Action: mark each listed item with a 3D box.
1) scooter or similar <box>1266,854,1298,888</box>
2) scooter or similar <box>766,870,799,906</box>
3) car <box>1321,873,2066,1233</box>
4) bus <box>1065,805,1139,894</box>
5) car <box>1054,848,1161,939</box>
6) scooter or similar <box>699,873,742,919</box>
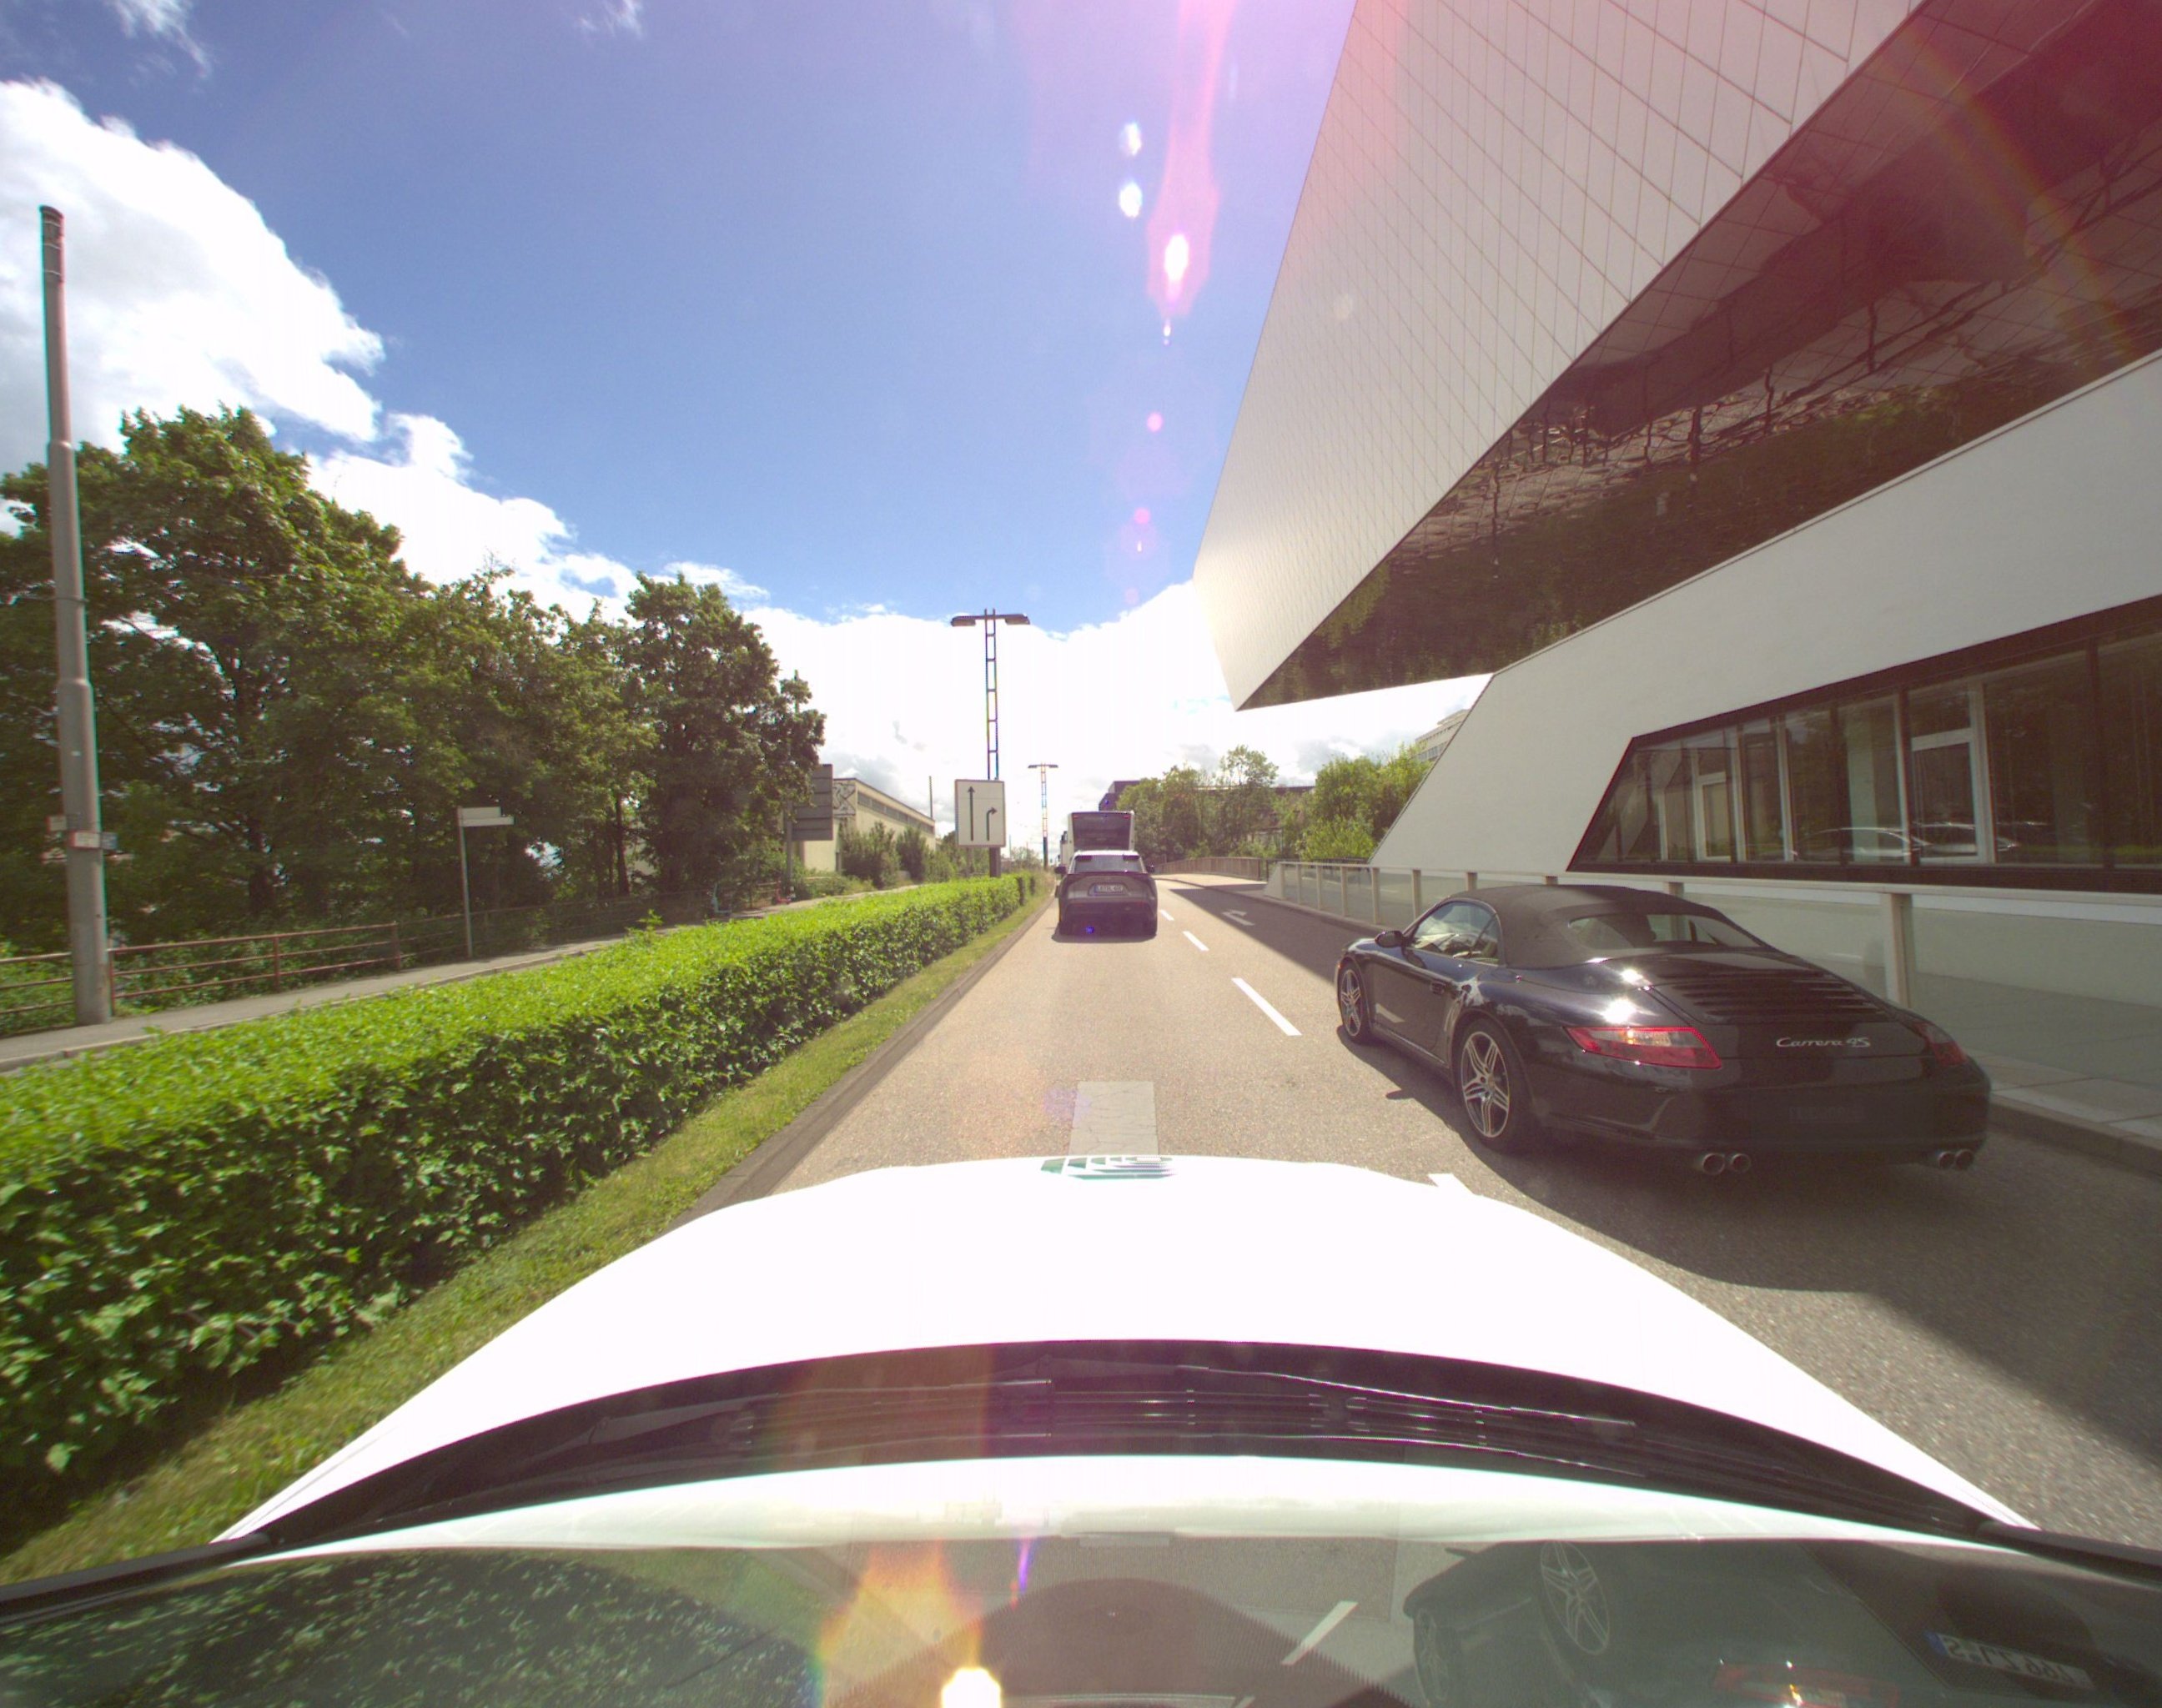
[{"bbox_3d":[7.650,0.642,31.109,0.651,1.214,1.856,-3,-1,-2],"label":"scooter or similar"},{"bbox_3d":[-11.072,1.248,30.281,0.489,1.216,1.644,-2,0,4],"label":"scooter or similar"},{"bbox_3d":[2.925,0.804,5.147,1.713,1.275,4.089,-1,0,2],"label":"car"},{"bbox_3d":[0.921,-0.229,36.041,2.679,3.255,12.061,0,1,1],"label":"bus"},{"bbox_3d":[0.502,0.717,16.545,1.873,1.594,4.230,-1,-1,1],"label":"car"},{"bbox_3d":[-11.034,1.267,24.958,0.489,1.304,1.644,-1,0,4],"label":"scooter or similar"}]
